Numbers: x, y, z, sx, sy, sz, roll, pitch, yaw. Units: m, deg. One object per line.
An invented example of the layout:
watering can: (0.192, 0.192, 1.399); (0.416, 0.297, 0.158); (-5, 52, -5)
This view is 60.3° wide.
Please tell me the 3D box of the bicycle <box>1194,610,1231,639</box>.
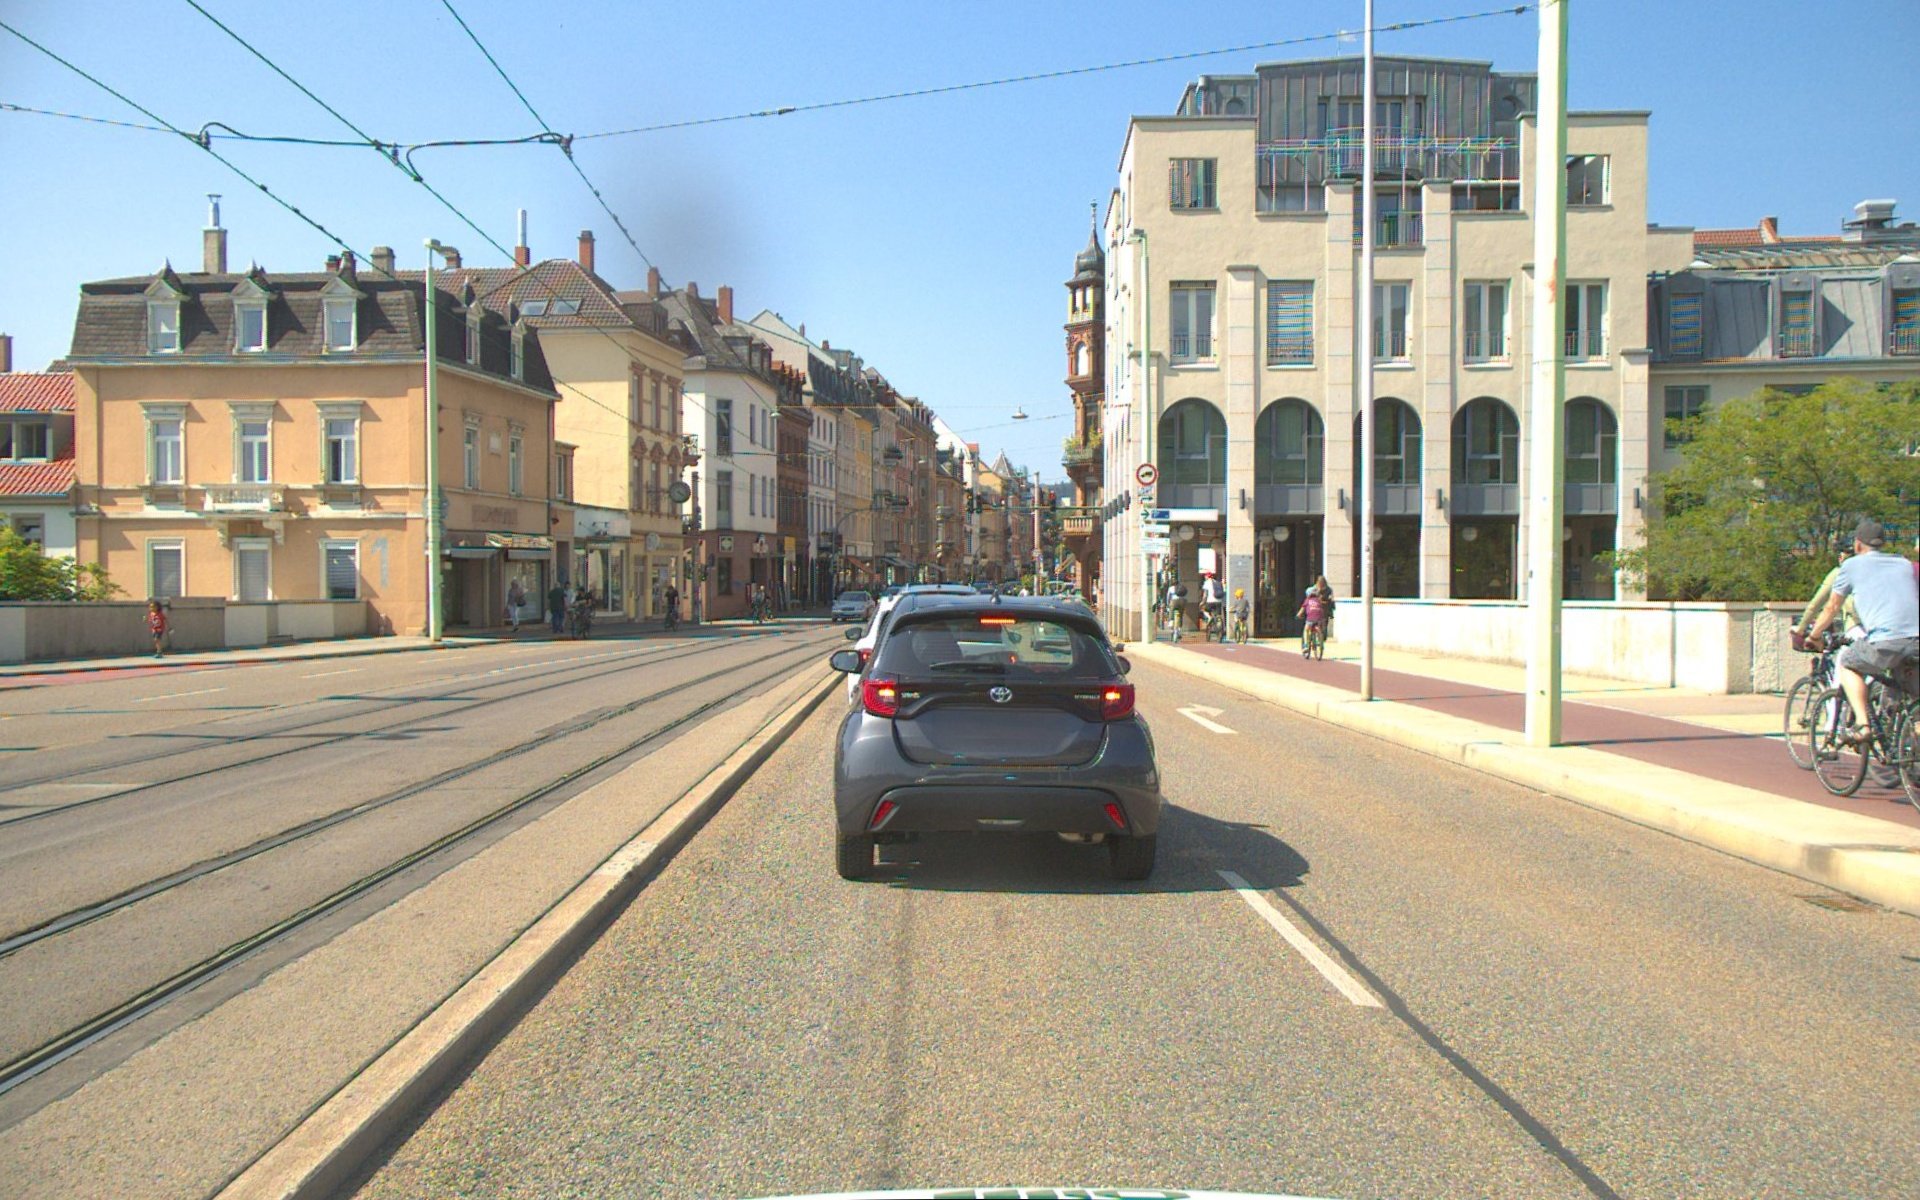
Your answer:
bicycle: (6.921, 0.678, 45.388); (0.414, 0.779, 0.948); (-2, 0, -39)

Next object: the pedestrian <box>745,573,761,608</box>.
pedestrian: (-10.694, -0.519, 85.618); (0.721, 1.797, 0.787); (0, 1, -1)

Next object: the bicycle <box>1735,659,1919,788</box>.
bicycle: (6.441, 0.867, 12.081); (0.582, 0.779, 1.865); (-1, 0, -3)

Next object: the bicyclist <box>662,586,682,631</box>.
bicyclist: (-11.018, 0.312, 63.181); (0.614, 1.679, 0.622); (2, 1, -1)

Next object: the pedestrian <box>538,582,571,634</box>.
pedestrian: (-13.654, 0.279, 55.725); (0.746, 1.682, 0.712); (4, 0, 7)

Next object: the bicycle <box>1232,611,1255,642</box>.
bicycle: (7.468, 0.693, 43.570); (0.408, 0.779, 0.961); (-2, 0, -1)

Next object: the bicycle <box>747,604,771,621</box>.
bicycle: (-9.420, 0.590, 77.506); (0.607, 0.728, 2.047); (2, 1, 8)

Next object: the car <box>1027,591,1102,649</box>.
car: (2.842, 0.514, 45.740); (1.671, 1.491, 4.325); (1, 0, -1)

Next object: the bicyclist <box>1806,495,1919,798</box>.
bicyclist: (5.861, 0.279, 10.490); (0.575, 1.852, 0.701); (-1, 0, -3)

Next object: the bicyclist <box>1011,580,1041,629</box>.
bicyclist: (3.590, 0.228, 89.982); (1.208, 2.572, 1.100); (4, 0, -16)

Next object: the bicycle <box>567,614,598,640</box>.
bicycle: (-12.140, 0.863, 53.242); (0.608, 0.728, 1.771); (2, 1, -1)

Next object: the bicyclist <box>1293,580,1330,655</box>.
bicyclist: (6.758, 0.333, 31.782); (0.523, 1.407, 0.669); (-2, 0, -1)

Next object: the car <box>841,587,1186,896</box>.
car: (0.227, 0.692, 10.025); (1.685, 1.499, 3.657); (1, 0, -1)

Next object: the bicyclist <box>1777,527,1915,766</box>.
bicyclist: (6.435, 0.327, 12.037); (0.575, 1.679, 0.701); (-1, 0, -3)

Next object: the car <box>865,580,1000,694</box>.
car: (-0.434, 0.506, 25.141); (1.859, 1.557, 3.999); (1, 0, -1)

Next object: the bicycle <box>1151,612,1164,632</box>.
bicycle: (8.194, 0.921, 68.567); (0.407, 0.779, 1.206); (-2, 0, 3)

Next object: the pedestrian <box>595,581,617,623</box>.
pedestrian: (-14.322, 0.084, 66.908); (0.636, 1.629, 0.566); (4, 2, -1)

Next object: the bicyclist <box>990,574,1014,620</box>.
bicyclist: (2.462, -0.163, 96.755); (1.203, 2.572, 1.105); (4, 0, 1)

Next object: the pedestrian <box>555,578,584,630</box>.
pedestrian: (-13.979, 0.136, 59.219); (0.721, 1.796, 0.787); (4, 0, -1)

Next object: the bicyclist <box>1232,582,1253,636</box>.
bicyclist: (7.448, 0.226, 43.581); (0.413, 1.407, 0.443); (-2, 0, -1)

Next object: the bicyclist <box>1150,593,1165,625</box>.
bicyclist: (8.187, 0.372, 68.595); (0.527, 1.339, 0.672); (-1, 0, 3)

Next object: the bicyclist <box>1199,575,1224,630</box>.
bicyclist: (6.906, 0.059, 45.388); (0.480, 1.492, 0.437); (-2, 0, -40)

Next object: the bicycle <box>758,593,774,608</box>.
bicycle: (-10.013, 0.020, 85.375); (0.608, 0.728, 1.771); (1, 1, -1)

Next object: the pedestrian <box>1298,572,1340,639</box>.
pedestrian: (9.164, 0.142, 42.278); (0.724, 1.642, 1.015); (4, 0, -2)

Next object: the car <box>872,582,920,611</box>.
car: (-3.585, -0.201, 93.503); (1.951, 1.614, 4.656); (0, 0, 7)

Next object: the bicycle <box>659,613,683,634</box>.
bicycle: (-11.042, 0.895, 63.184); (0.608, 0.728, 1.731); (2, 1, -1)

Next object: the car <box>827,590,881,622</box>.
car: (-5.035, 0.276, 79.350); (1.694, 1.486, 4.377); (0, 0, 9)

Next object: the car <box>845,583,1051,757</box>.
car: (-0.156, 0.632, 17.163); (1.859, 1.557, 3.999); (1, 0, -1)

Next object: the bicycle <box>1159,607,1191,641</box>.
bicycle: (5.958, 0.664, 45.880); (0.689, 0.898, 1.525); (-1, 0, 0)

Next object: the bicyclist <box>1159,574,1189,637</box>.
bicyclist: (5.942, 0.151, 45.912); (0.687, 1.725, 0.924); (-1, 0, -1)

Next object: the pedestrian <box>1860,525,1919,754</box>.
pedestrian: (8.000, 0.305, 13.469); (0.724, 1.833, 1.015); (-2, 0, -2)

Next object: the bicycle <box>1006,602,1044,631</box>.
bicycle: (3.537, 0.890, 90.062); (1.094, 1.444, 2.994); (3, 0, -16)

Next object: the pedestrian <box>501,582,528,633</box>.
pedestrian: (-14.707, 0.252, 54.654); (0.636, 1.629, 0.566); (4, 2, -1)

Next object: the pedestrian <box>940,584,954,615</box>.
pedestrian: (-1.108, -0.066, 142.783); (1.029, 2.633, 1.501); (4, 0, -1)

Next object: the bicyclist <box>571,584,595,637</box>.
bicyclist: (-12.125, 0.322, 53.194); (0.614, 1.679, 0.622); (2, 1, -1)

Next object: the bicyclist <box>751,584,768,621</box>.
bicyclist: (-9.400, 0.108, 77.527); (0.614, 1.679, 0.622); (2, 1, 8)

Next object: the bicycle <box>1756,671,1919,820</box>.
bicycle: (5.870, 0.895, 10.554); (0.582, 0.779, 1.865); (-1, 0, -3)

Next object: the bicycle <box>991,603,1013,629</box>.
bicycle: (2.436, 0.919, 97.121); (1.089, 1.444, 3.007); (3, 0, -1)

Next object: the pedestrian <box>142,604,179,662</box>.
pedestrian: (-16.847, 0.691, 34.840); (0.403, 1.166, 0.545); (4, 0, 6)

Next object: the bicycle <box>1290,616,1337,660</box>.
bicycle: (6.774, 0.715, 31.756); (0.503, 0.779, 1.660); (-2, 0, -1)
